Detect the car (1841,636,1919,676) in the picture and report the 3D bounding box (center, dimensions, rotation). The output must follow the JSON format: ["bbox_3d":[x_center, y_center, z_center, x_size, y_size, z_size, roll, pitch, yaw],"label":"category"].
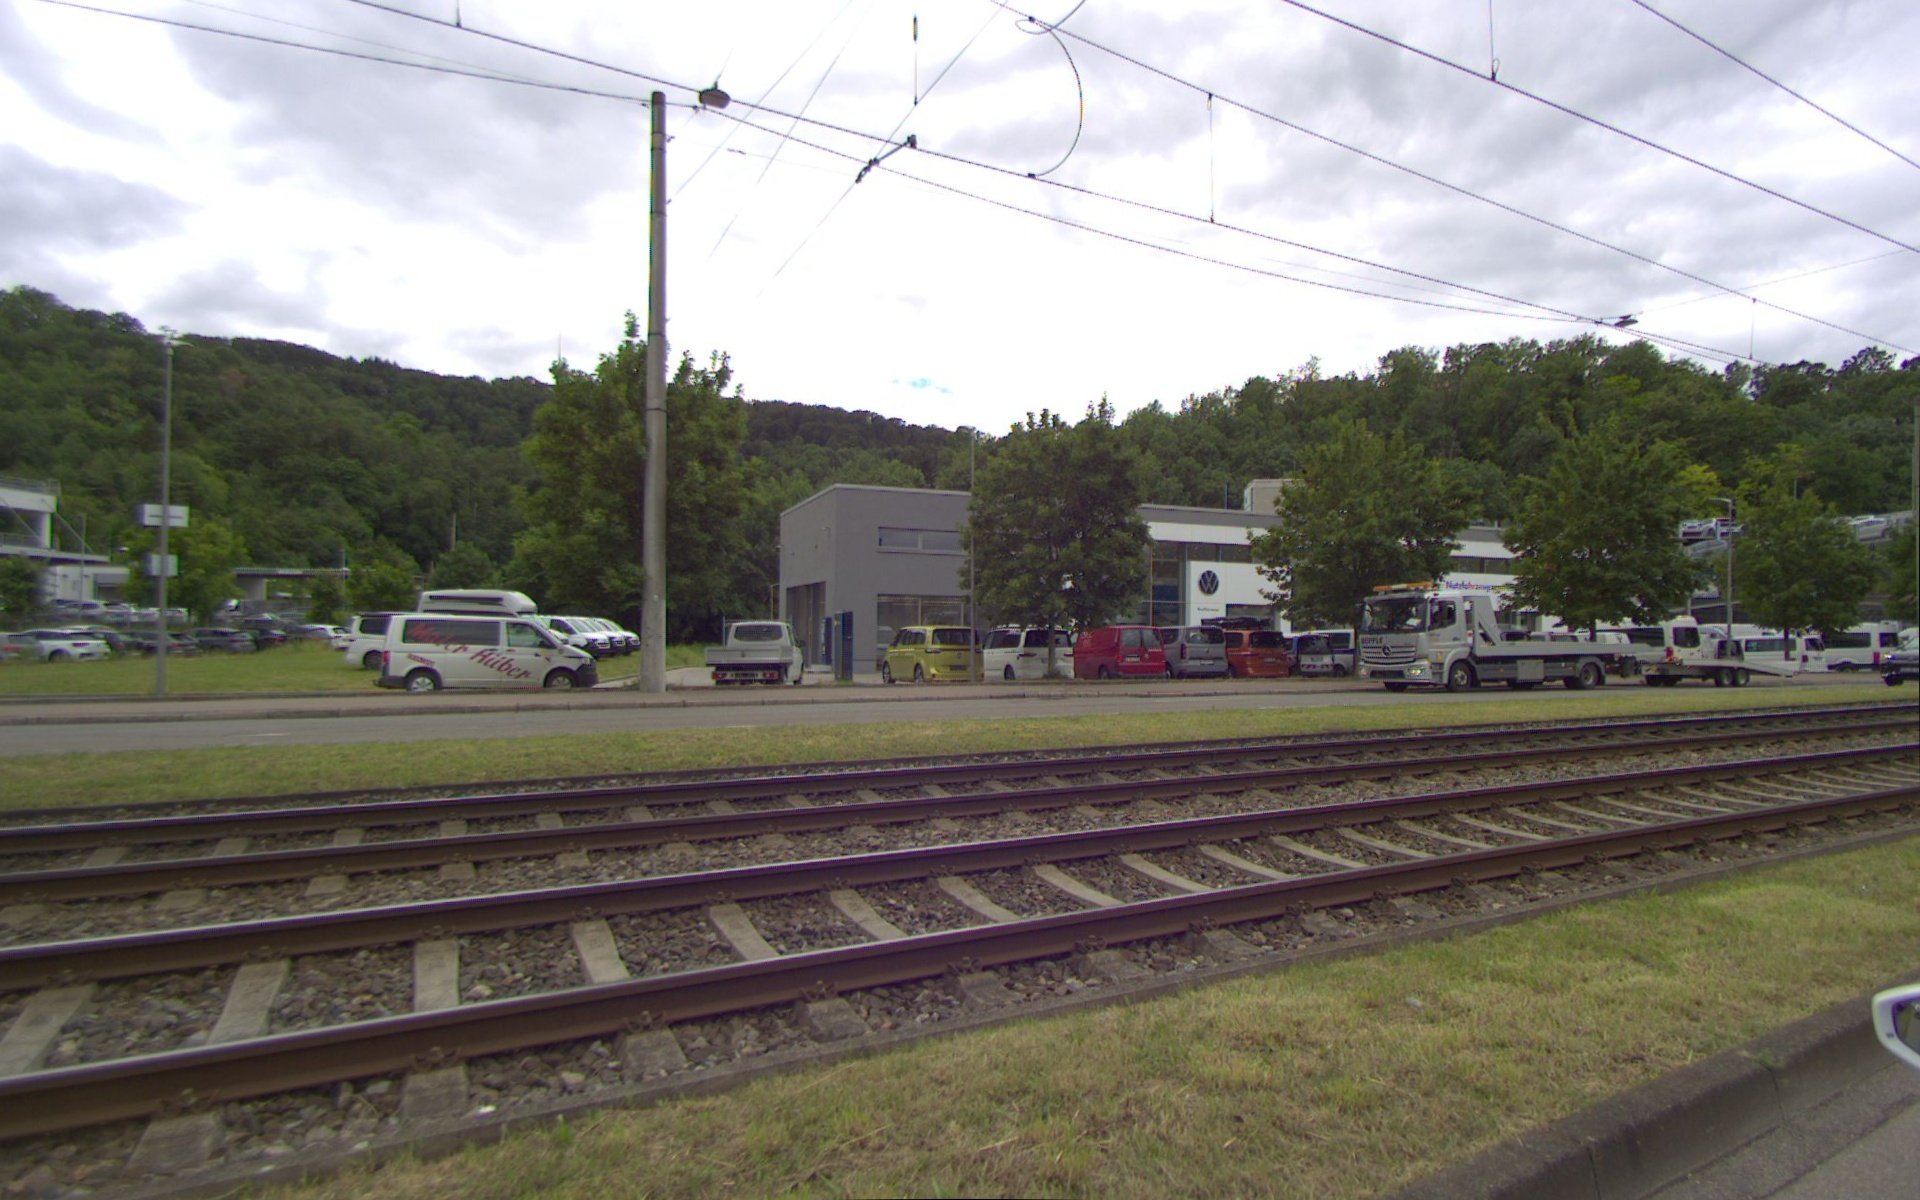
[{"bbox_3d":[48.061,2.815,51.161,1.976,1.936,4.356,1,-1,-23],"label":"car"}]

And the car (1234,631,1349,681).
[{"bbox_3d":[11.720,1.948,35.787,1.968,1.639,3.985,1,-1,-18],"label":"car"}]

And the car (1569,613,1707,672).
[{"bbox_3d":[28.213,1.743,41.977,2.092,2.342,4.493,1,-1,-18],"label":"car"}]

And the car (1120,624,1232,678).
[{"bbox_3d":[7.240,1.677,34.085,2.015,1.686,3.985,1,-1,-18],"label":"car"}]

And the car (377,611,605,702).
[{"bbox_3d":[-11.284,1.339,24.448,4.795,2.040,1.988,2,-2,-26],"label":"car"}]

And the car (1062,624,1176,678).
[{"bbox_3d":[5.090,1.612,32.728,2.030,1.639,4.176,1,-1,-18],"label":"car"}]

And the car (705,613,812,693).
[{"bbox_3d":[-5.552,1.451,28.427,2.102,2.034,5.714,1,-2,-3],"label":"car"}]

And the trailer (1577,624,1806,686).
[{"bbox_3d":[22.228,1.686,30.488,6.848,1.720,2.378,1,-4,-23],"label":"trailer"}]

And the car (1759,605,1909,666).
[{"bbox_3d":[41.141,1.660,47.451,2.085,2.734,4.954,1,-1,-23],"label":"car"}]

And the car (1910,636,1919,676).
[{"bbox_3d":[52.567,2.956,52.099,1.976,2.133,4.356,1,-1,-23],"label":"car"}]

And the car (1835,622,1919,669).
[{"bbox_3d":[45.916,2.213,49.087,1.976,2.201,4.356,1,-1,-23],"label":"car"}]

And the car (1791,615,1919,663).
[{"bbox_3d":[43.387,1.851,48.711,1.976,2.201,4.356,1,-1,-23],"label":"car"}]

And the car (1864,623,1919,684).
[{"bbox_3d":[29.634,1.648,30.310,4.475,1.762,1.987,2,-4,-27],"label":"car"}]

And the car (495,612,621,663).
[{"bbox_3d":[-17.825,1.661,44.686,4.763,2.156,2.001,1,-1,3],"label":"car"}]

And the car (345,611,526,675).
[{"bbox_3d":[-17.733,1.446,34.159,5.035,2.040,1.999,1,-1,-3],"label":"car"}]

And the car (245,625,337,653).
[{"bbox_3d":[-35.120,2.043,52.800,3.656,1.455,1.671,1,-1,-18],"label":"car"}]

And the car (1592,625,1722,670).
[{"bbox_3d":[30.236,2.027,43.715,1.973,1.869,4.362,1,-1,-18],"label":"car"}]

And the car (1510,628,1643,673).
[{"bbox_3d":[25.446,2.039,41.635,2.002,1.711,4.356,1,-1,-23],"label":"car"}]

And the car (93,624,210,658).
[{"bbox_3d":[-35.921,1.803,44.724,3.656,1.455,1.671,1,-1,-18],"label":"car"}]

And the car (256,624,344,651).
[{"bbox_3d":[-36.269,2.074,55.284,3.656,1.455,1.671,1,-1,-18],"label":"car"}]

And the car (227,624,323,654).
[{"bbox_3d":[-34.482,1.968,50.660,3.656,1.455,1.671,1,-1,-18],"label":"car"}]

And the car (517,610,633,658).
[{"bbox_3d":[-18.499,1.633,48.346,4.763,2.156,2.001,1,-1,3],"label":"car"}]

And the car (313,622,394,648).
[{"bbox_3d":[-35.211,2.024,58.408,3.654,1.455,1.672,1,-1,-16],"label":"car"}]

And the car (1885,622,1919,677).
[{"bbox_3d":[50.509,2.549,51.317,1.976,2.856,4.356,1,-1,-23],"label":"car"}]

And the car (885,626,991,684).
[{"bbox_3d":[-0.769,1.625,30.948,2.120,1.639,4.334,1,-1,-18],"label":"car"}]

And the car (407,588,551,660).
[{"bbox_3d":[-19.422,0.979,40.707,4.765,2.741,2.000,1,-1,-1],"label":"car"}]

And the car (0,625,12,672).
[{"bbox_3d":[-35.476,1.680,34.614,3.656,1.639,1.671,1,-1,-18],"label":"car"}]

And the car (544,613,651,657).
[{"bbox_3d":[-18.598,1.787,51.663,4.763,2.156,2.001,1,-1,3],"label":"car"}]

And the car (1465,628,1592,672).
[{"bbox_3d":[23.193,2.005,41.165,1.973,1.639,4.362,1,-1,-18],"label":"car"}]

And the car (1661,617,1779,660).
[{"bbox_3d":[48.150,2.397,63.723,5.866,2.636,1.994,-1,-2,41],"label":"car"}]

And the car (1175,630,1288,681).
[{"bbox_3d":[9.384,1.886,35.013,1.968,1.639,3.985,1,-1,-18],"label":"car"}]

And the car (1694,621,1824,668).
[{"bbox_3d":[36.996,2.020,46.651,1.976,2.037,4.356,1,-1,-23],"label":"car"}]

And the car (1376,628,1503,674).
[{"bbox_3d":[18.419,1.921,38.812,1.972,1.639,4.363,1,-1,-18],"label":"car"}]

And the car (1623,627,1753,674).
[{"bbox_3d":[32.213,2.205,44.608,1.973,1.973,4.362,1,-1,-18],"label":"car"}]

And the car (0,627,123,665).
[{"bbox_3d":[-35.751,1.805,39.723,3.656,1.455,1.671,1,-1,-18],"label":"car"}]

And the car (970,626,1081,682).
[{"bbox_3d":[1.978,1.656,32.015,2.086,1.639,4.343,1,-1,-18],"label":"car"}]

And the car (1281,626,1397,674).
[{"bbox_3d":[13.789,1.797,36.783,1.968,1.639,3.985,1,-1,-18],"label":"car"}]

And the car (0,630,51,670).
[{"bbox_3d":[-36.204,1.821,36.975,3.656,1.455,1.671,1,-1,-18],"label":"car"}]

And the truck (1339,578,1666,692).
[{"bbox_3d":[14.887,1.010,27.431,9.087,2.777,2.751,1,-3,-23],"label":"truck"}]

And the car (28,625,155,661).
[{"bbox_3d":[-36.544,1.795,42.377,3.656,1.455,1.671,1,-1,-18],"label":"car"}]
